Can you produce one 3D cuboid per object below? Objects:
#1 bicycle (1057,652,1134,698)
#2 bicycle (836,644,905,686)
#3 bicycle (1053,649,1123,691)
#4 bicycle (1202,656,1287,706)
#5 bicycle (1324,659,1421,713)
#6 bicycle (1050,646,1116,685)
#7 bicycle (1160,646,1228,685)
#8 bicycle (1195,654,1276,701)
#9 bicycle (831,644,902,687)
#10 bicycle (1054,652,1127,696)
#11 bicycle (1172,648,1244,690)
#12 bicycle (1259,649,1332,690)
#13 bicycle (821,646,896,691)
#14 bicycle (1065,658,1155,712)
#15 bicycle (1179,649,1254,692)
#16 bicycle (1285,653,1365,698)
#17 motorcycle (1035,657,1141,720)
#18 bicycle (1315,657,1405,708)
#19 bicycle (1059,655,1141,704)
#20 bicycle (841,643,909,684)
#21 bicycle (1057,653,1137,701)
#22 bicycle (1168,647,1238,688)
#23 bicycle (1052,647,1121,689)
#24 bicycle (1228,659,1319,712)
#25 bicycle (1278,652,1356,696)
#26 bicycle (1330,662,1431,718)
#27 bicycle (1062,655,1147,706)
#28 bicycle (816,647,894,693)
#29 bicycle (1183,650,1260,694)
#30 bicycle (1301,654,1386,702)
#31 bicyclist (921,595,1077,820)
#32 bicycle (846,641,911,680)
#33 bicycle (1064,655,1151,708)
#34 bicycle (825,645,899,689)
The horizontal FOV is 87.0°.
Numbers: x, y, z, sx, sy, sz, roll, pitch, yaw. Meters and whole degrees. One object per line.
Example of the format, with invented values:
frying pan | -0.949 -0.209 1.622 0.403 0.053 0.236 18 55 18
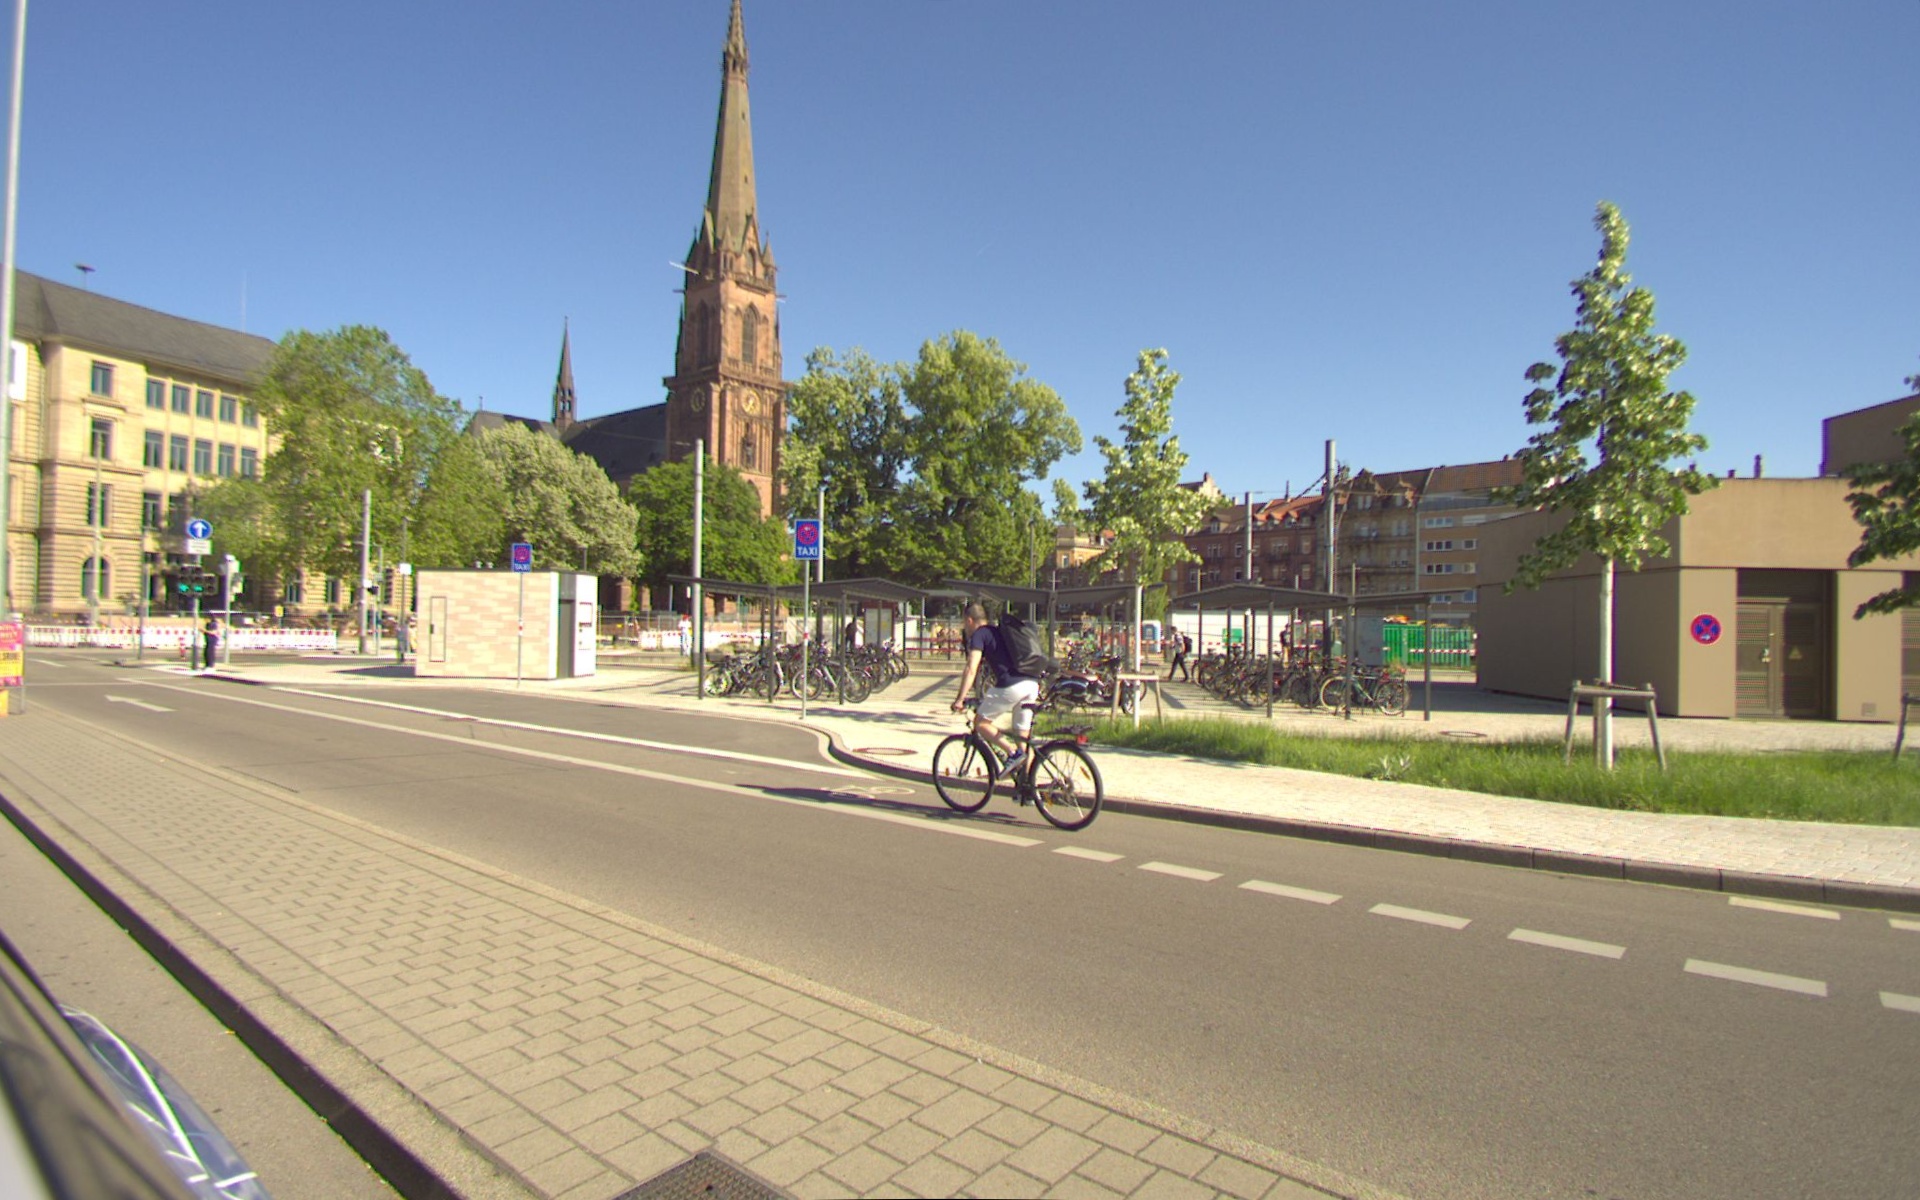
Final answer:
bicycle | 3.230 1.791 24.235 1.764 1.046 0.567 1 -3 3
bicycle | -2.368 1.714 26.897 1.764 1.046 0.567 1 -3 3
bicycle | 3.336 1.823 26.428 1.764 1.046 0.567 1 -3 3
bicycle | 6.434 1.822 22.925 1.764 1.046 0.567 1 -3 3
bicycle | 8.626 1.792 21.204 1.764 1.046 0.567 1 -3 3
bicycle | 3.440 1.829 28.303 1.764 1.046 0.567 1 -3 3
bicycle | 6.545 1.824 28.318 1.764 1.046 0.567 1 -3 3
bicycle | 6.499 1.819 23.922 1.764 1.046 0.567 1 -3 3
bicycle | -2.417 1.696 26.235 1.764 1.046 0.567 1 -3 3
bicycle | 3.307 1.866 25.662 1.764 1.046 0.567 1 -3 3
bicycle | 6.594 1.837 26.984 1.764 1.046 0.567 1 -3 3
bicycle | 9.063 1.868 27.401 1.764 1.046 0.567 1 -3 3
bicycle | -2.495 1.678 24.996 1.764 1.046 0.567 1 -3 3
bicycle | 3.094 1.745 20.899 1.764 1.046 0.567 1 -3 3
bicycle | 6.623 1.826 26.190 1.764 1.046 0.567 1 -3 3
bicycle | 9.044 1.875 25.114 1.764 1.046 0.567 1 -3 3
motorcycle | 2.430 1.681 19.293 1.961 1.128 0.593 0 -2 7
bicycle | 8.820 1.816 22.372 1.769 1.046 0.566 1 -3 11
bicycle | 3.151 1.795 22.909 1.764 1.046 0.567 1 -3 3
bicycle | -2.311 1.724 27.563 1.764 1.046 0.567 1 -3 3
bicycle | 3.177 1.775 23.547 1.764 1.046 0.567 1 -3 3
bicycle | 6.621 1.830 27.605 1.764 1.046 0.567 1 -3 3
bicycle | 3.379 1.813 27.031 1.764 1.046 0.567 1 -3 3
bicycle | 6.688 1.813 21.636 1.764 1.046 0.567 1 -3 3
bicycle | 9.100 1.873 25.811 1.764 1.046 0.567 1 -3 3
bicycle | 8.409 1.788 20.267 1.764 1.046 0.567 1 -3 3
bicycle | 3.149 1.756 22.166 1.764 1.046 0.567 1 -3 3
bicycle | -2.521 1.683 24.394 1.764 1.046 0.567 1 -3 3
bicycle | 6.569 1.813 25.473 1.764 1.046 0.567 1 -3 3
bicycle | 9.010 1.832 23.829 1.764 1.046 0.567 1 -3 3
bicyclist | 0.307 0.803 7.964 0.977 1.633 0.712 -1 -3 40
bicycle | -2.307 1.731 28.822 1.764 1.046 0.567 1 -3 3
bicycle | 3.131 1.733 21.564 1.764 1.046 0.567 1 -3 3
bicycle | -2.473 1.698 25.635 1.764 1.046 0.567 1 -3 3
